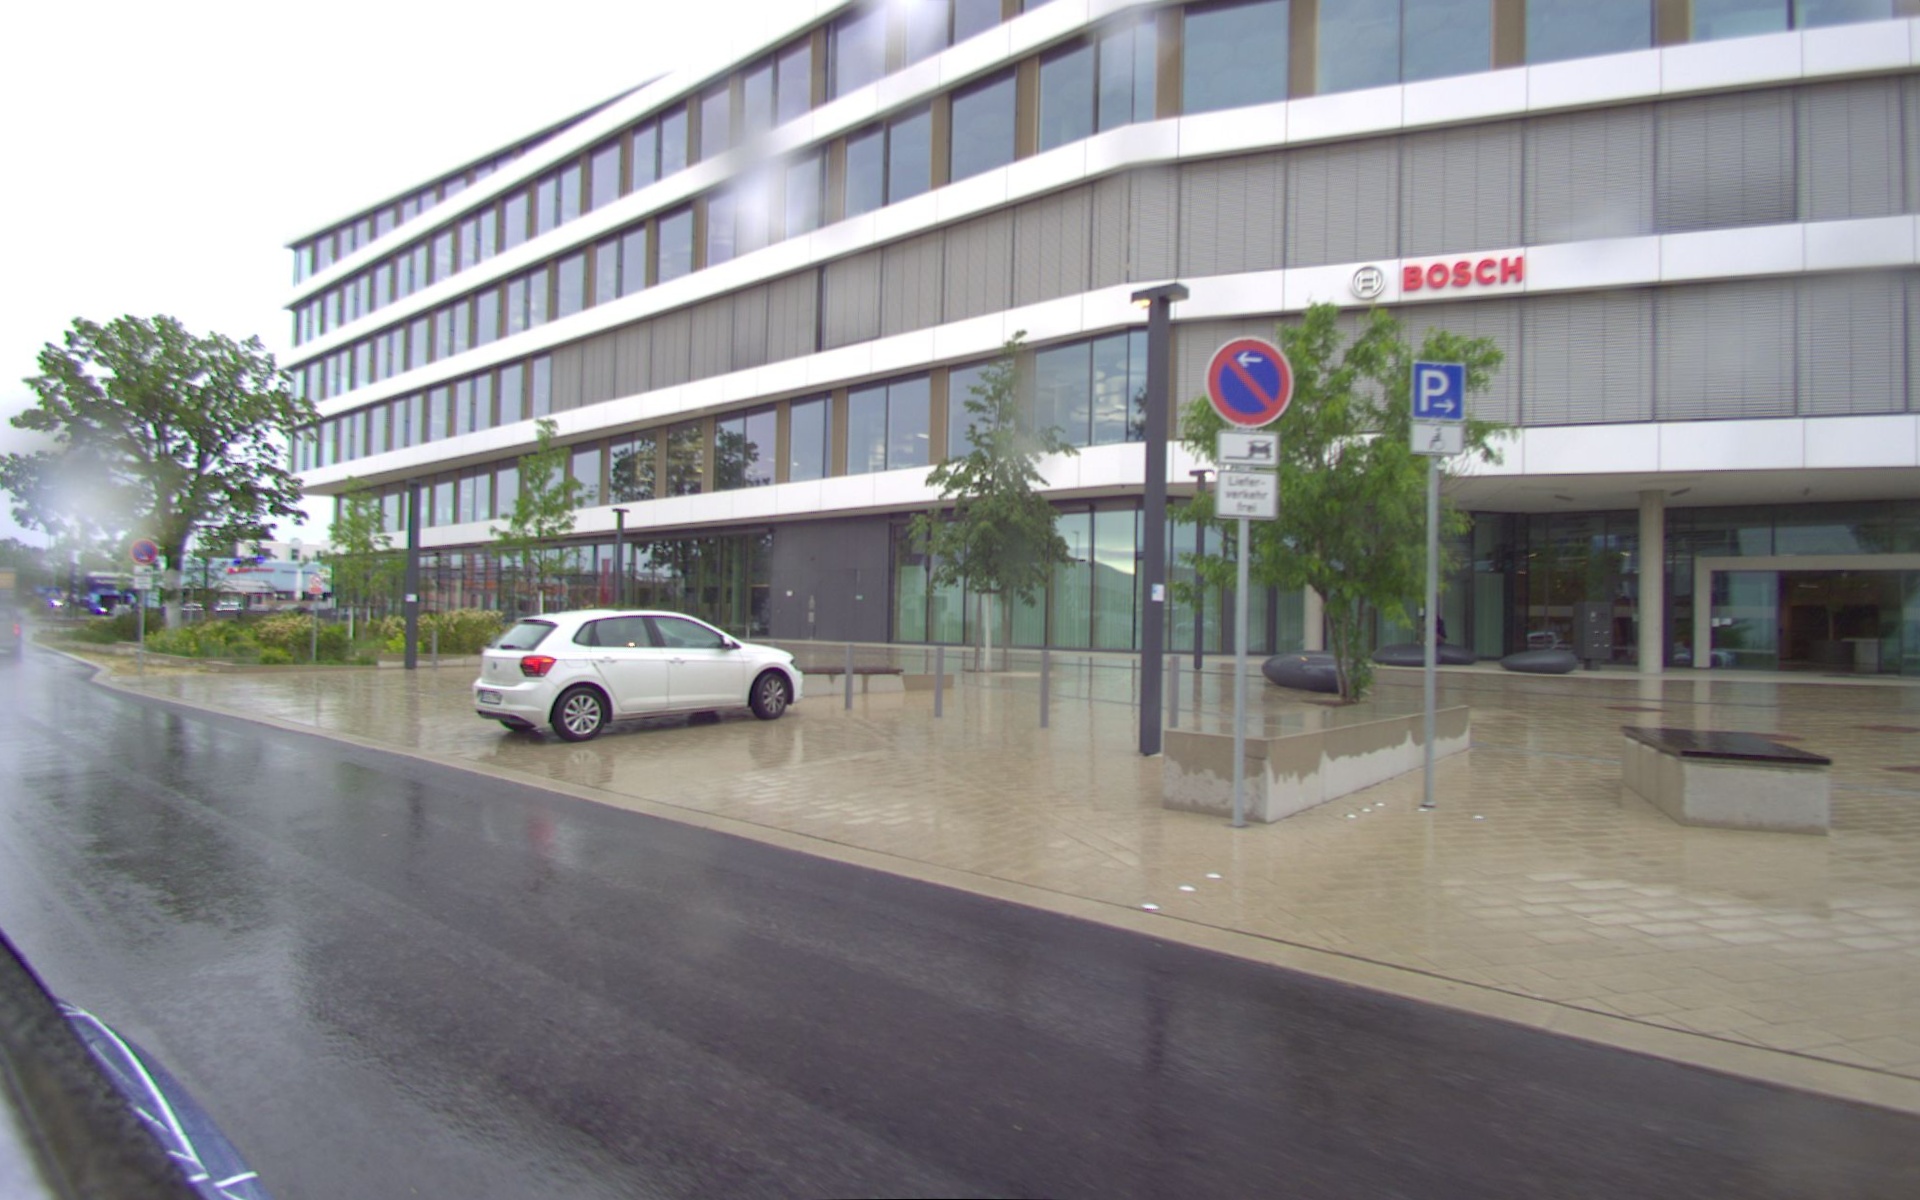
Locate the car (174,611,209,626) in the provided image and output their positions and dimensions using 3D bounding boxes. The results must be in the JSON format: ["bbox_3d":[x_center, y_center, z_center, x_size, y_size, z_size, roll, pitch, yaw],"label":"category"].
[{"bbox_3d":[-72.943,1.714,96.115,1.855,1.305,4.013,-2,0,-25],"label":"car"}]

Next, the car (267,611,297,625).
[{"bbox_3d":[-66.640,1.785,99.489,1.855,1.305,4.013,-2,0,-25],"label":"car"}]

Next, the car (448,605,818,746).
[{"bbox_3d":[-3.853,0.828,12.387,1.897,1.434,3.886,-1,-2,42],"label":"car"}]

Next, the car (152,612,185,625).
[{"bbox_3d":[-82.619,1.892,105.710,1.855,1.305,4.013,-2,0,-25],"label":"car"}]

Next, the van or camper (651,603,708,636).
[{"bbox_3d":[-27.483,1.894,99.140,5.013,3.111,2.006,-1,-1,-28],"label":"van or camper"}]

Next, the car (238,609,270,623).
[{"bbox_3d":[-68.698,1.569,98.566,1.855,1.305,4.013,-2,0,-25],"label":"car"}]

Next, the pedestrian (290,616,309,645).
[{"bbox_3d":[-40.609,1.886,62.238,0.957,1.716,0.716,1,3,44],"label":"pedestrian"}]

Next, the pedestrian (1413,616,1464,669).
[{"bbox_3d":[12.469,1.097,26.403,1.051,1.324,0.895,0,2,14],"label":"pedestrian"}]

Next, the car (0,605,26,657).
[{"bbox_3d":[-36.176,1.134,37.283,4.976,1.832,1.982,-1,-2,40],"label":"car"}]
